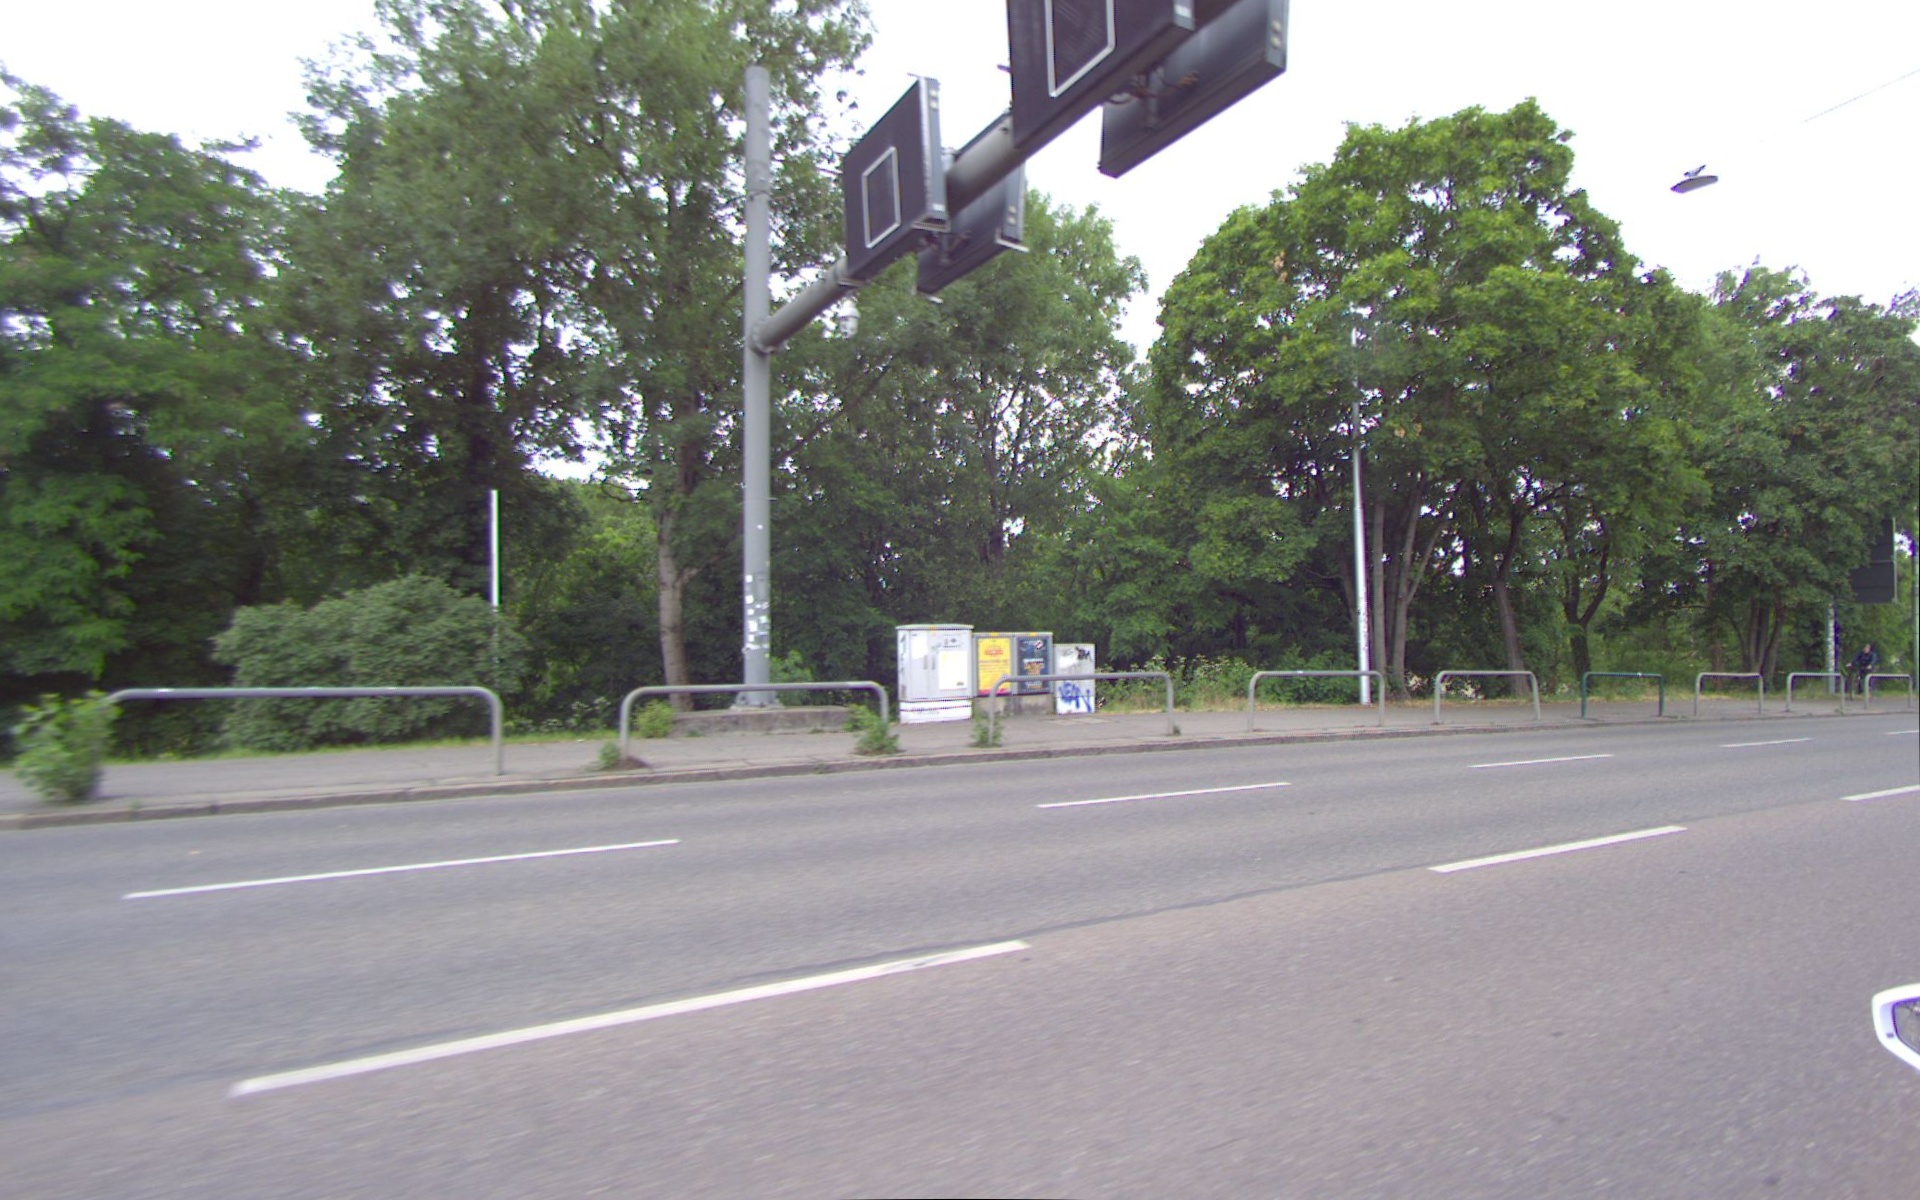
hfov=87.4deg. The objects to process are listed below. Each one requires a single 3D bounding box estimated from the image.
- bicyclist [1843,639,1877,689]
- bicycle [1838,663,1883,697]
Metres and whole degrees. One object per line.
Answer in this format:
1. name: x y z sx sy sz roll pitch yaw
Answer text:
1. bicyclist: 28.032 1.993 31.277 0.973 1.536 0.512 2 -2 -31
2. bicycle: 28.052 2.481 31.284 1.979 1.015 0.482 2 -2 -31
